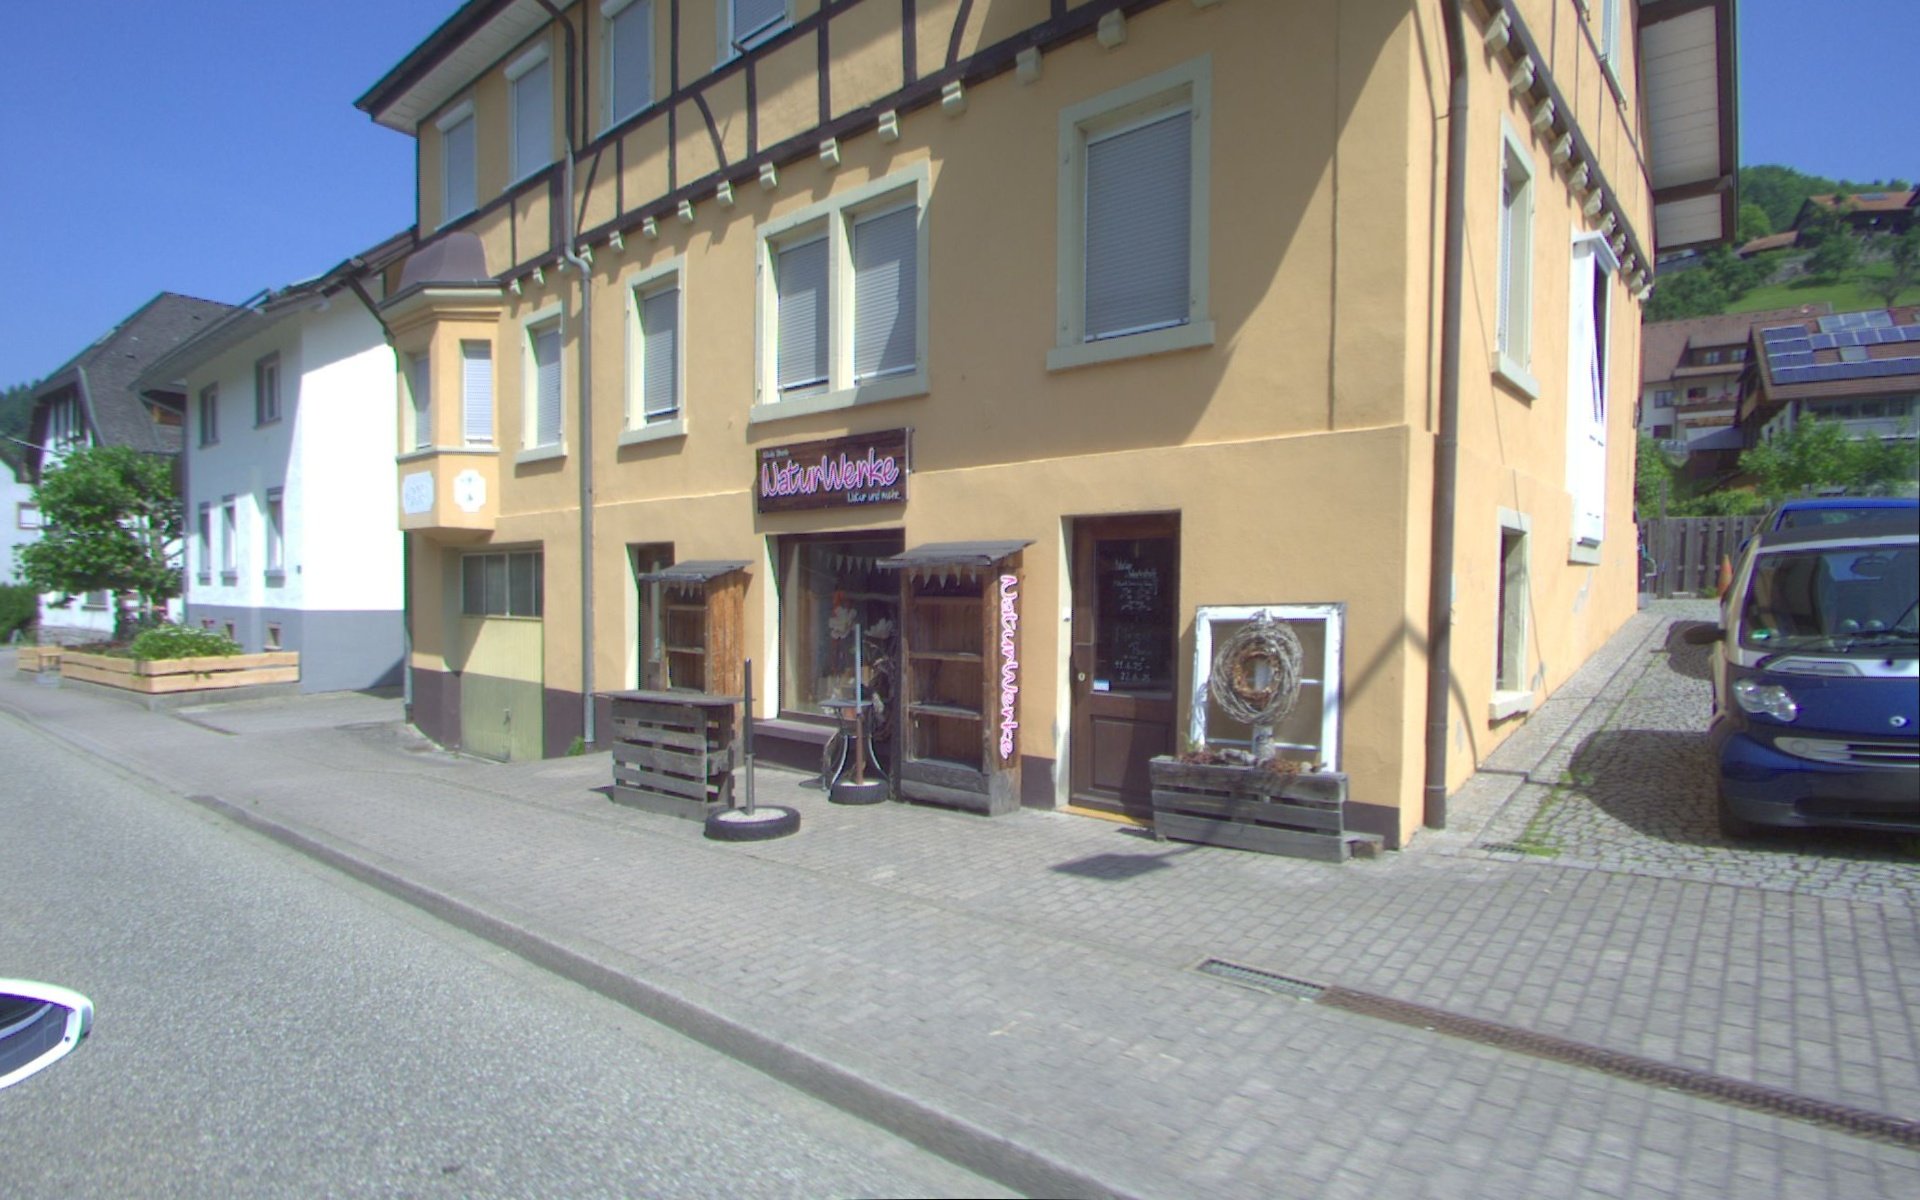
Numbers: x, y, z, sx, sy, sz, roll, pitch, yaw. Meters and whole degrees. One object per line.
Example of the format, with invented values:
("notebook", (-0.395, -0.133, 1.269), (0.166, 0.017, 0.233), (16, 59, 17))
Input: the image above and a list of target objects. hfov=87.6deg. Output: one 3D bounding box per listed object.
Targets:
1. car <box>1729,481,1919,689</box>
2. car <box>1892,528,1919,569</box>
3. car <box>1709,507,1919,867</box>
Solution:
("car", (8.559, -0.252, 9.642), (1.712, 1.648, 3.906), (0, 4, 36))
("car", (35.750, -1.935, 37.112), (1.327, 1.389, 3.190), (-2, 3, 36))
("car", (5.140, 0.328, 5.659), (1.408, 1.557, 2.641), (-2, 5, 37))
